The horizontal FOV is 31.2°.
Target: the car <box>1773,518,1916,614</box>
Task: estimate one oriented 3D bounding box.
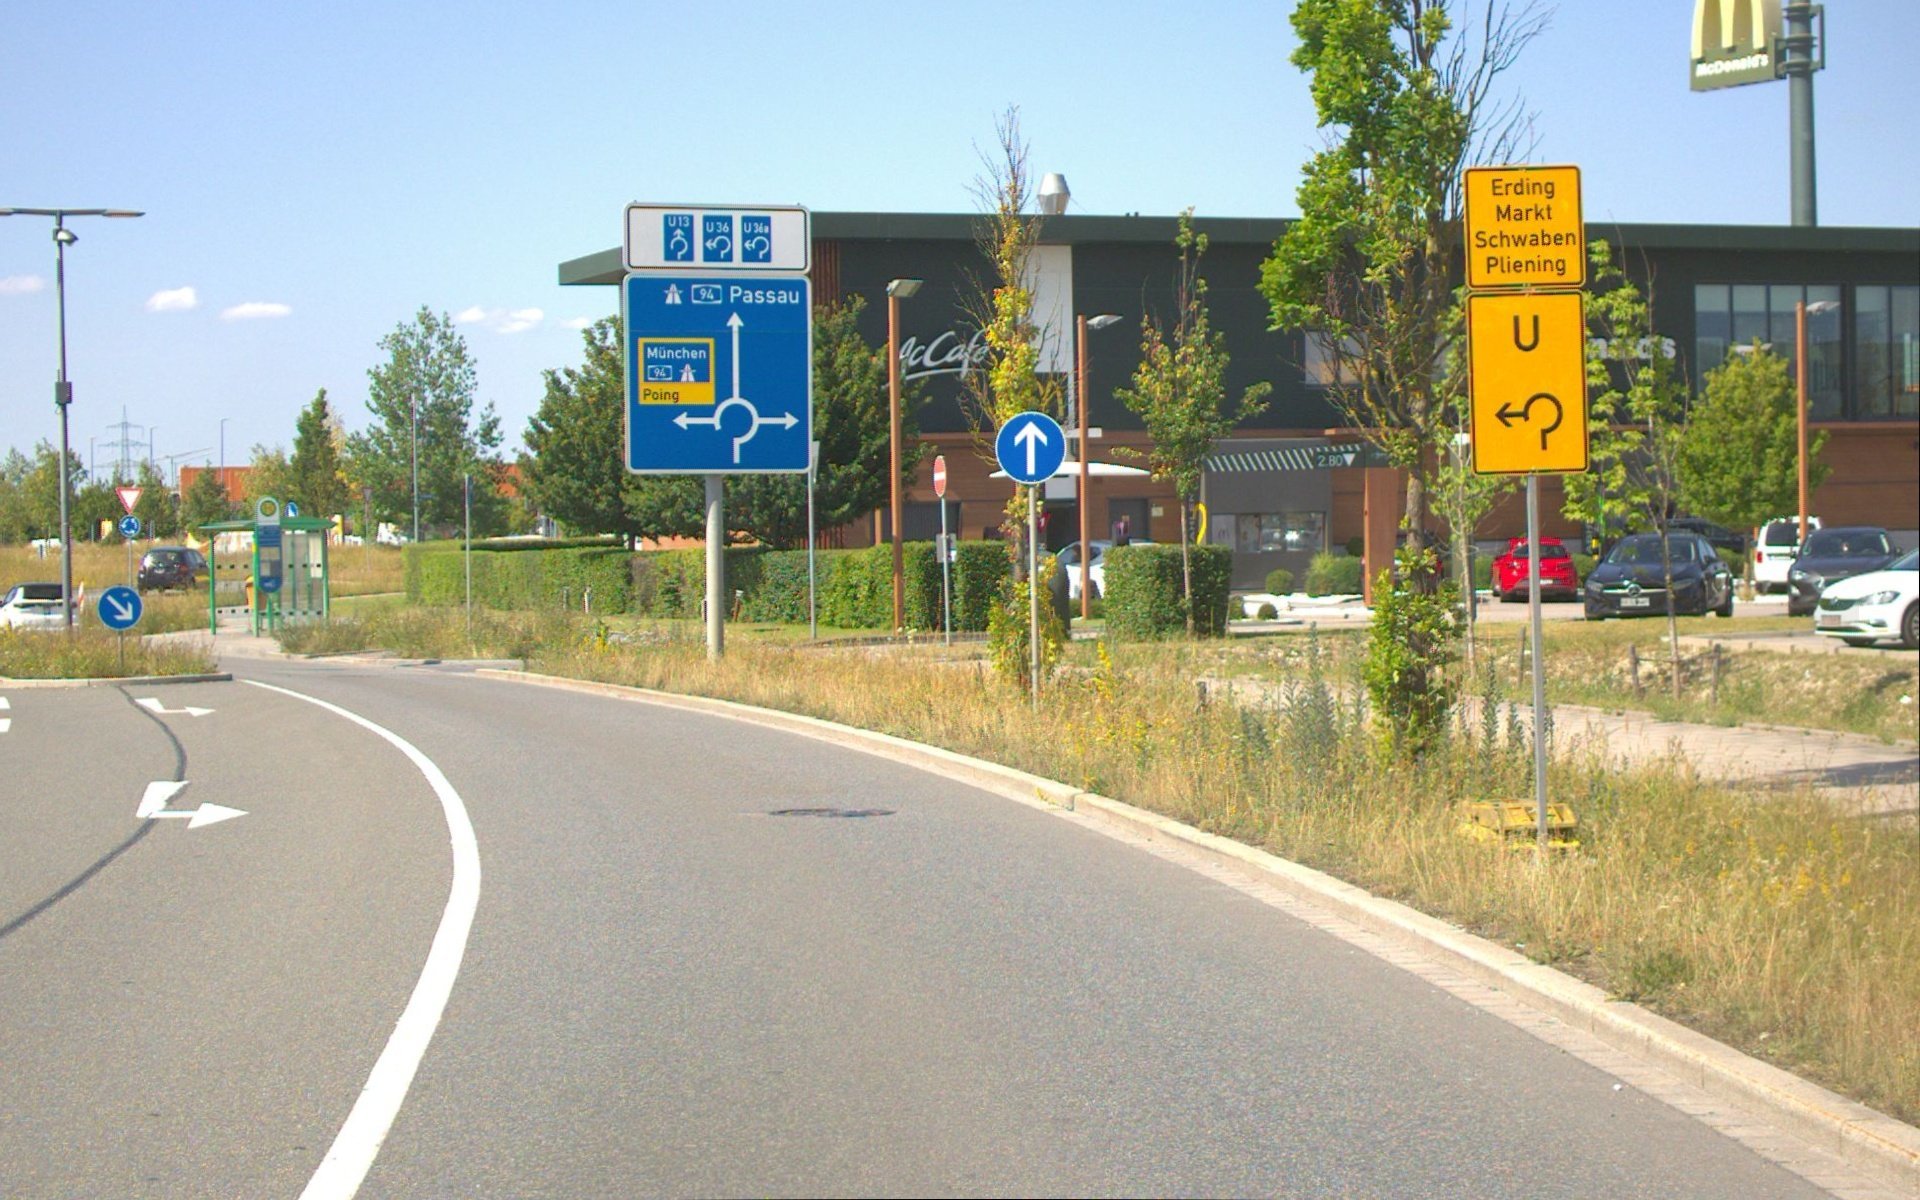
[{"bbox_3d":[14.342,-0.580,55.612,1.787,1.457,4.165,-1,1,20],"label":"car"}]

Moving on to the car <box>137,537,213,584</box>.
[{"bbox_3d":[-24.701,-1.248,108.240,1.616,1.429,3.793,-1,1,-2],"label":"car"}]

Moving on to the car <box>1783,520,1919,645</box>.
[{"bbox_3d":[13.033,-0.285,43.920,4.524,1.485,1.869,-2,2,-15],"label":"car"}]

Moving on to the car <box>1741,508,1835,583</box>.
[{"bbox_3d":[19.762,-1.309,81.945,1.794,1.696,3.997,-1,1,19],"label":"car"}]

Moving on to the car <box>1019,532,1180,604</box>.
[{"bbox_3d":[2.874,-0.666,71.542,1.792,1.429,4.001,-2,1,-23],"label":"car"}]

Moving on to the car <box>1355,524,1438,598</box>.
[{"bbox_3d":[9.963,-0.913,78.269,1.793,1.599,3.999,-1,1,8],"label":"car"}]

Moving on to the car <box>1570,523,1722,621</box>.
[{"bbox_3d":[10.850,-0.463,54.189,1.699,1.457,4.165,-1,1,20],"label":"car"}]

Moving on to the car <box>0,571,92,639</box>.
[{"bbox_3d":[-20.506,0.090,76.690,1.616,1.429,3.793,-1,1,-23],"label":"car"}]

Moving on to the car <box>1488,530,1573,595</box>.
[{"bbox_3d":[13.110,-0.884,79.155,1.793,1.429,3.999,-1,1,8],"label":"car"}]
